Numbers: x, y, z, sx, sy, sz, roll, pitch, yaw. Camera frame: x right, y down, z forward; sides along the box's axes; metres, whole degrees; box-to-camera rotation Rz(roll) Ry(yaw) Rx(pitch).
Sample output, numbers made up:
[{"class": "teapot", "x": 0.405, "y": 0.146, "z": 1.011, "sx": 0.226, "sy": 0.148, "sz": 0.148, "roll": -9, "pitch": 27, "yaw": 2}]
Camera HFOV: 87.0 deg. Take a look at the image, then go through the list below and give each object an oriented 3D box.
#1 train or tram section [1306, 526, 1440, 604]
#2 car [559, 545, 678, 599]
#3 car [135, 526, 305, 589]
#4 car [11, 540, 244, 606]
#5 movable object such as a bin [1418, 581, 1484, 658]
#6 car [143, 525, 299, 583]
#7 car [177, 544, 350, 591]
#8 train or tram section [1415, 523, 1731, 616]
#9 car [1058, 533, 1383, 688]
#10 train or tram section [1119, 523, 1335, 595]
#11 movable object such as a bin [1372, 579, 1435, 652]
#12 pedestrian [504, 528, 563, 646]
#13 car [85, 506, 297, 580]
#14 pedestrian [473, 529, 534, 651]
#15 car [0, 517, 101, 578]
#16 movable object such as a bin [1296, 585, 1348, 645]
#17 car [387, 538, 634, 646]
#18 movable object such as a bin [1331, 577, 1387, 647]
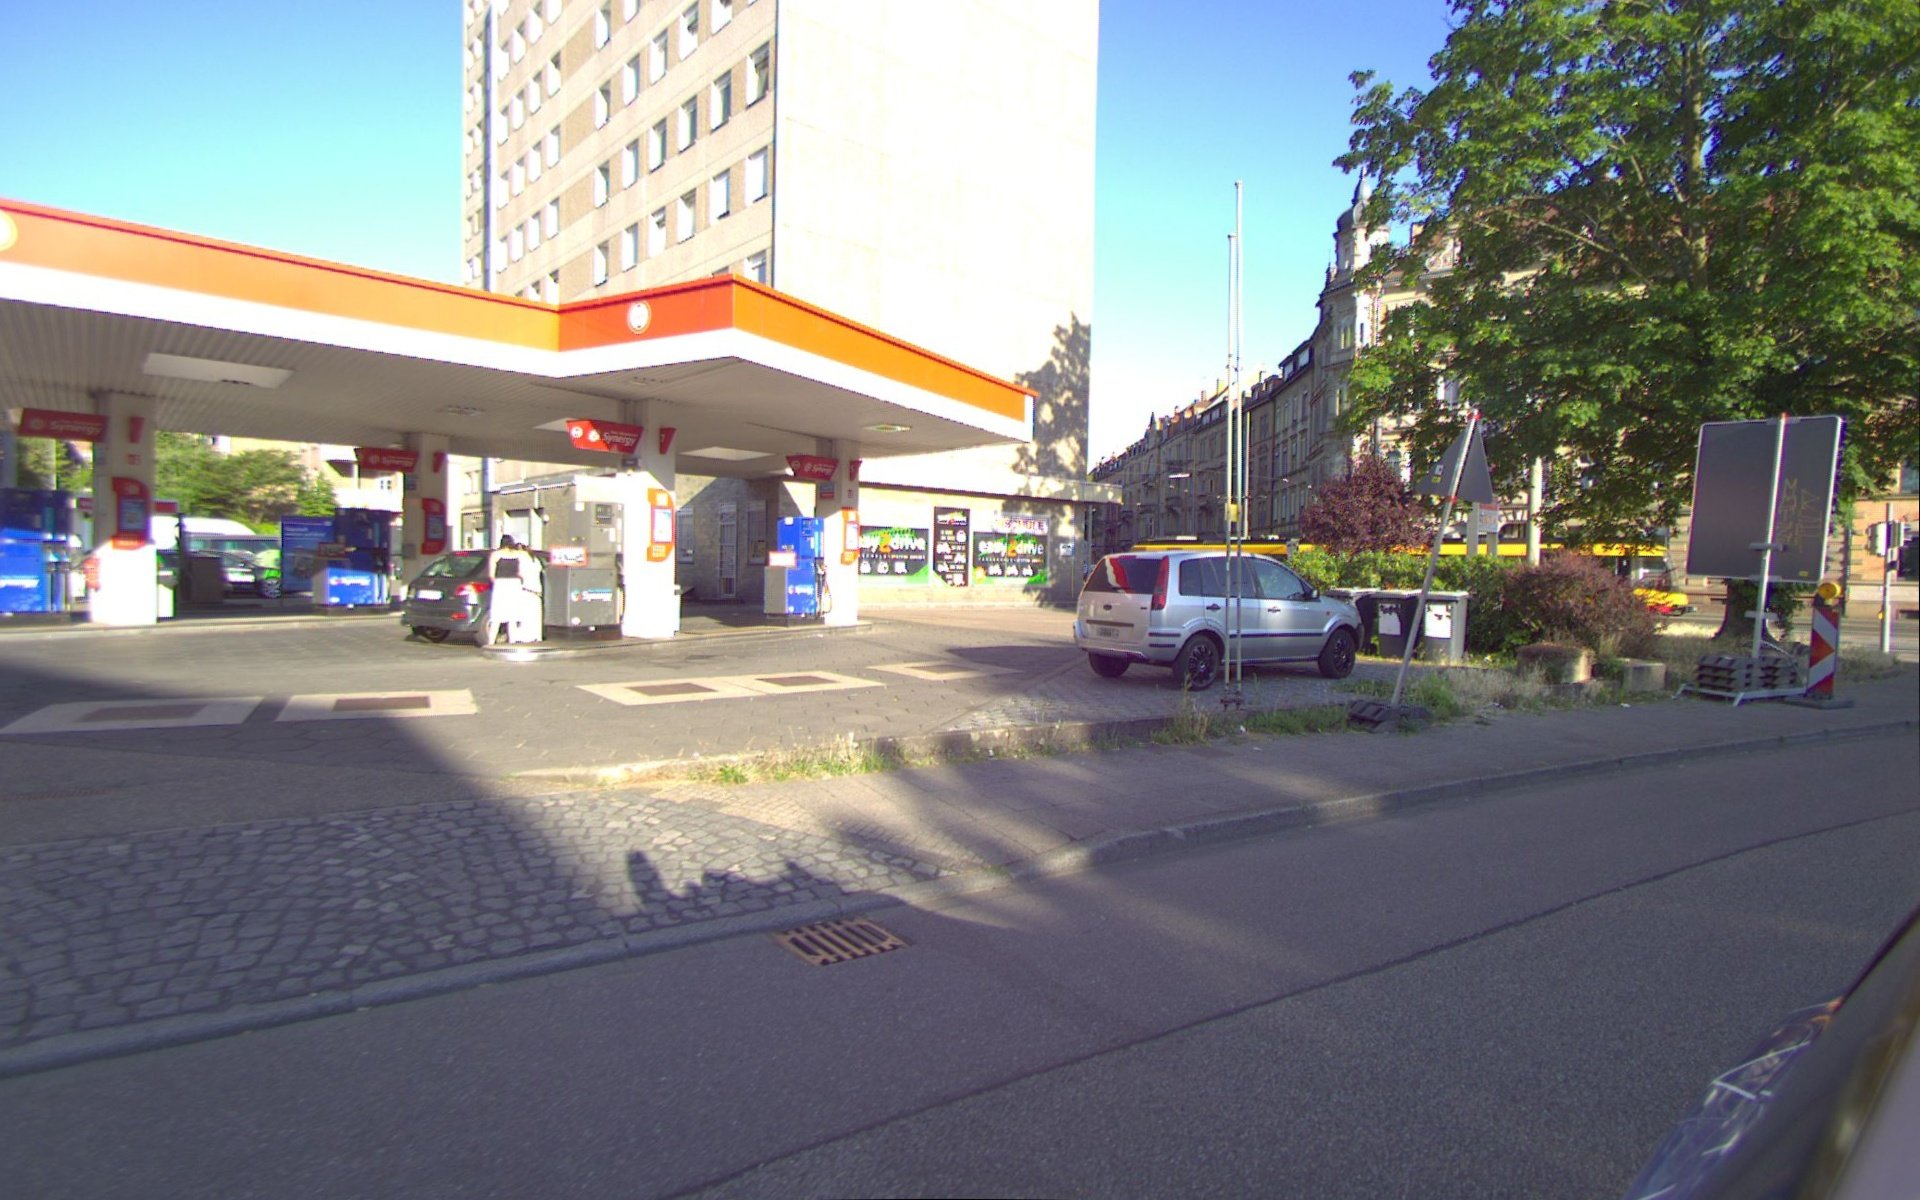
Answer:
[{"class": "train or tram section", "x": 20.016, "y": -1.731, "z": 49.182, "sx": 2.822, "sy": 3.551, "sz": 5.293, "roll": 0, "pitch": 2, "yaw": -43}, {"class": "car", "x": -10.074, "y": -0.847, "z": 29.686, "sx": 1.965, "sy": 1.466, "sz": 3.995, "roll": 0, "pitch": 2, "yaw": -41}, {"class": "car", "x": -23.340, "y": -1.311, "z": 31.981, "sx": 4.220, "sy": 1.867, "sz": 1.998, "roll": -1, "pitch": 2, "yaw": -41}, {"class": "car", "x": -19.738, "y": -0.644, "z": 24.180, "sx": 4.181, "sy": 1.437, "sz": 1.749, "roll": -1, "pitch": 2, "yaw": -40}, {"class": "movable object such as a bin", "x": 6.974, "y": 0.260, "z": 14.383, "sx": 0.661, "sy": 1.042, "sz": 0.574, "roll": 0, "pitch": 2, "yaw": -35}, {"class": "car", "x": -25.526, "y": -1.551, "z": 35.021, "sx": 4.220, "sy": 1.867, "sz": 1.998, "roll": -1, "pitch": 2, "yaw": -41}, {"class": "car", "x": -21.057, "y": -0.975, "z": 30.665, "sx": 4.181, "sy": 1.312, "sz": 1.749, "roll": -1, "pitch": 2, "yaw": -40}, {"class": "train or tram section", "x": 25.920, "y": -1.414, "z": 43.528, "sx": 11.257, "sy": 3.551, "sz": 2.826, "roll": 3, "pitch": 2, "yaw": 42}, {"class": "car", "x": 3.207, "y": 0.062, "z": 12.250, "sx": 3.818, "sy": 1.613, "sz": 1.626, "roll": -1, "pitch": 2, "yaw": -33}, {"class": "train or tram section", "x": 14.440, "y": -2.315, "z": 56.632, "sx": 2.815, "sy": 3.551, "sz": 13.020, "roll": 0, "pitch": 2, "yaw": -34}, {"class": "movable object such as a bin", "x": 6.589, "y": 0.222, "z": 15.038, "sx": 0.661, "sy": 1.042, "sz": 0.574, "roll": 0, "pitch": 2, "yaw": -35}, {"class": "pedestrian", "x": -6.111, "y": -0.196, "z": 14.516, "sx": 0.528, "sy": 1.641, "sz": 0.563, "roll": 2, "pitch": 2, "yaw": 25}, {"class": "car", "x": -28.736, "y": -2.069, "z": 37.998, "sx": 6.197, "sy": 2.532, "sz": 1.996, "roll": -1, "pitch": 2, "yaw": -43}, {"class": "pedestrian", "x": -6.303, "y": -0.153, "z": 13.987, "sx": 0.529, "sy": 1.641, "sz": 0.563, "roll": 2, "pitch": 2, "yaw": 27}, {"class": "car", "x": -40.497, "y": -2.254, "z": 43.528, "sx": 5.390, "sy": 2.524, "sz": 1.693, "roll": -1, "pitch": 2, "yaw": -41}, {"class": "movable object such as a bin", "x": 5.775, "y": 0.229, "z": 16.148, "sx": 0.573, "sy": 0.919, "sz": 0.488, "roll": 0, "pitch": 2, "yaw": -21}, {"class": "car", "x": -6.819, "y": -0.188, "z": 15.653, "sx": 1.575, "sy": 1.456, "sz": 3.274, "roll": 2, "pitch": 3, "yaw": 26}, {"class": "movable object such as a bin", "x": 6.147, "y": 0.180, "z": 15.593, "sx": 0.573, "sy": 1.042, "sz": 0.524, "roll": 1, "pitch": 2, "yaw": -15}]
